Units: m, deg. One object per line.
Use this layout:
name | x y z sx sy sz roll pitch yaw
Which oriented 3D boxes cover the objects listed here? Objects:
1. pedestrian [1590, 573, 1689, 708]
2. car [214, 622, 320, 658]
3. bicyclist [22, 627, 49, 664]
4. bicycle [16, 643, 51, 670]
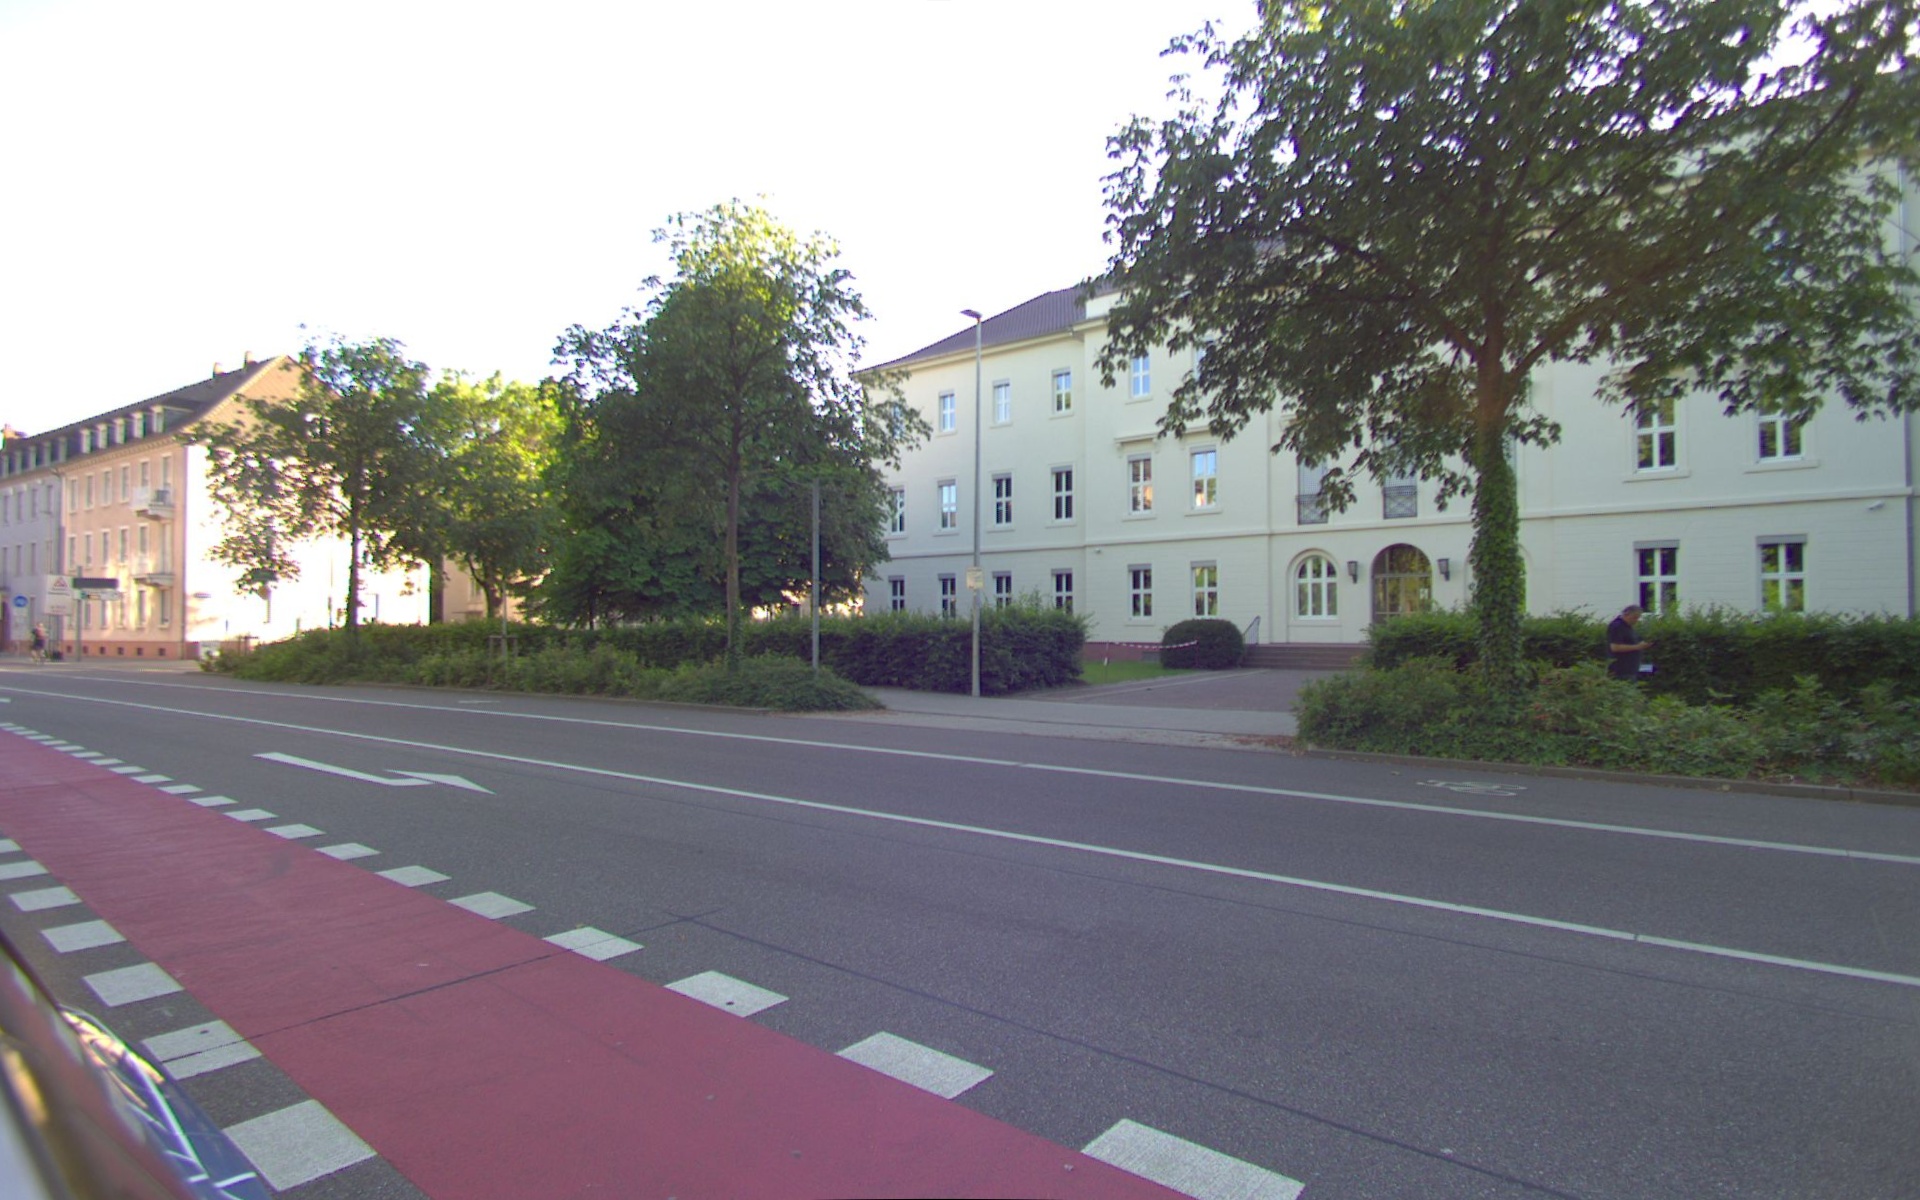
pedestrian | 9.166 0.544 13.663 0.968 1.733 0.825 -2 -3 42
car | -34.646 1.953 50.669 1.993 1.674 3.958 -1 -1 31
bicyclist | -40.327 1.990 44.137 0.837 1.574 0.683 -2 -4 37
bicycle | -40.543 2.461 44.276 2.242 1.168 0.688 -2 -4 38
